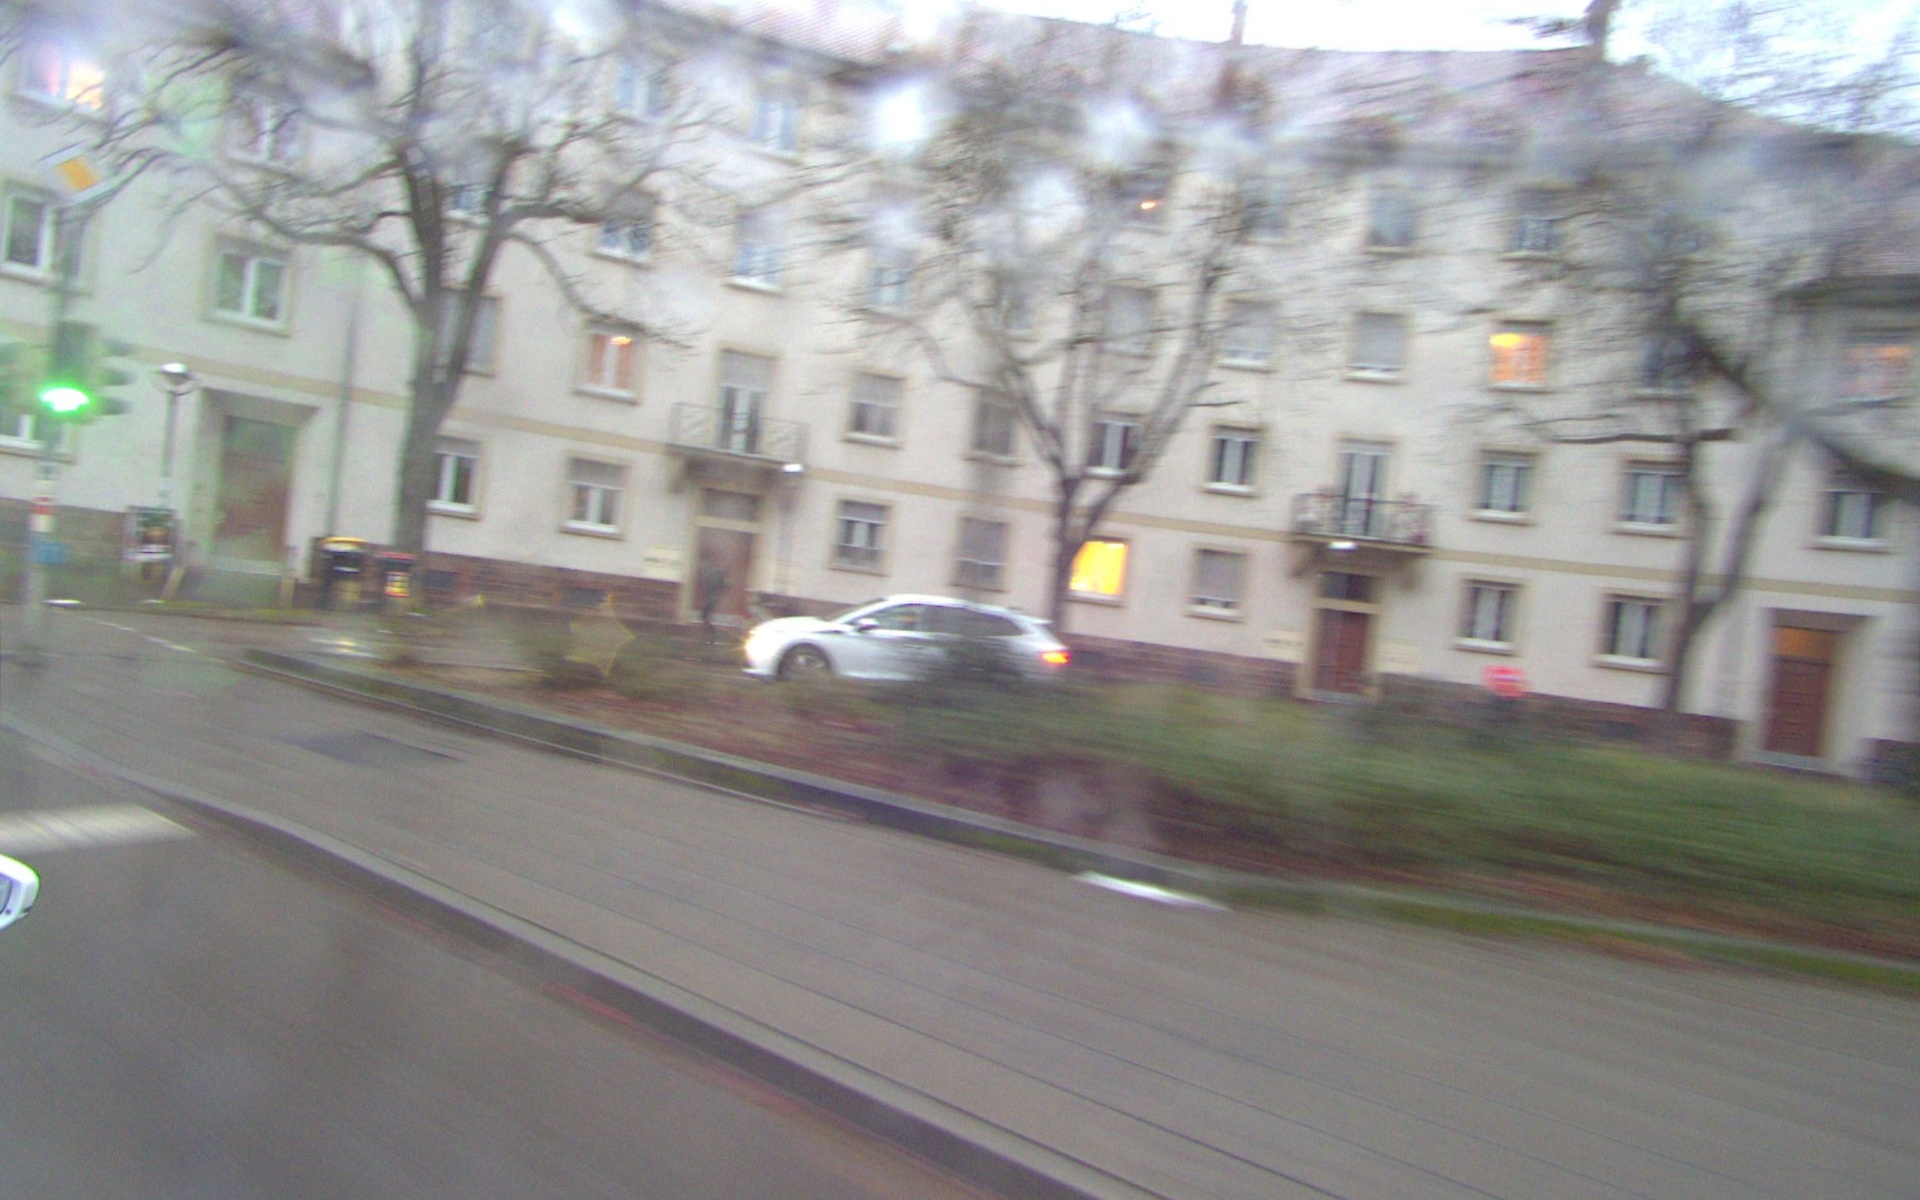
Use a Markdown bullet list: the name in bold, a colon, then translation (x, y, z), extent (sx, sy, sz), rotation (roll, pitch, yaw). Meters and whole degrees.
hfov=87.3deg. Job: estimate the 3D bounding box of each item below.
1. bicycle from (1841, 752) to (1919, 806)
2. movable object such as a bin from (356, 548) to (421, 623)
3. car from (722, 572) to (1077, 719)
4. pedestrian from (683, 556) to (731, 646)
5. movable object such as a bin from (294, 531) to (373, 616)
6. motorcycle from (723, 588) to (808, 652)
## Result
- **bicycle**: translation (17.303, 3.333, 18.484), extent (1.562, 0.775, 0.339), rotation (7, 1, 29)
- **movable object such as a bin**: translation (-9.617, -0.238, 16.946), extent (0.691, 1.132, 0.537), rotation (9, -2, -16)
- **car**: translation (-0.881, 0.621, 14.513), extent (4.670, 1.529, 1.896), rotation (6, 1, -8)
- **pedestrian**: translation (-4.968, 0.016, 19.821), extent (0.703, 1.681, 0.686), rotation (7, 1, -11)
- **movable object such as a bin**: translation (-10.381, -0.422, 16.700), extent (0.842, 1.265, 0.520), rotation (9, -2, -16)
- **motorcycle**: translation (-4.078, 0.409, 21.156), extent (1.575, 1.120, 0.568), rotation (7, 3, -5)
